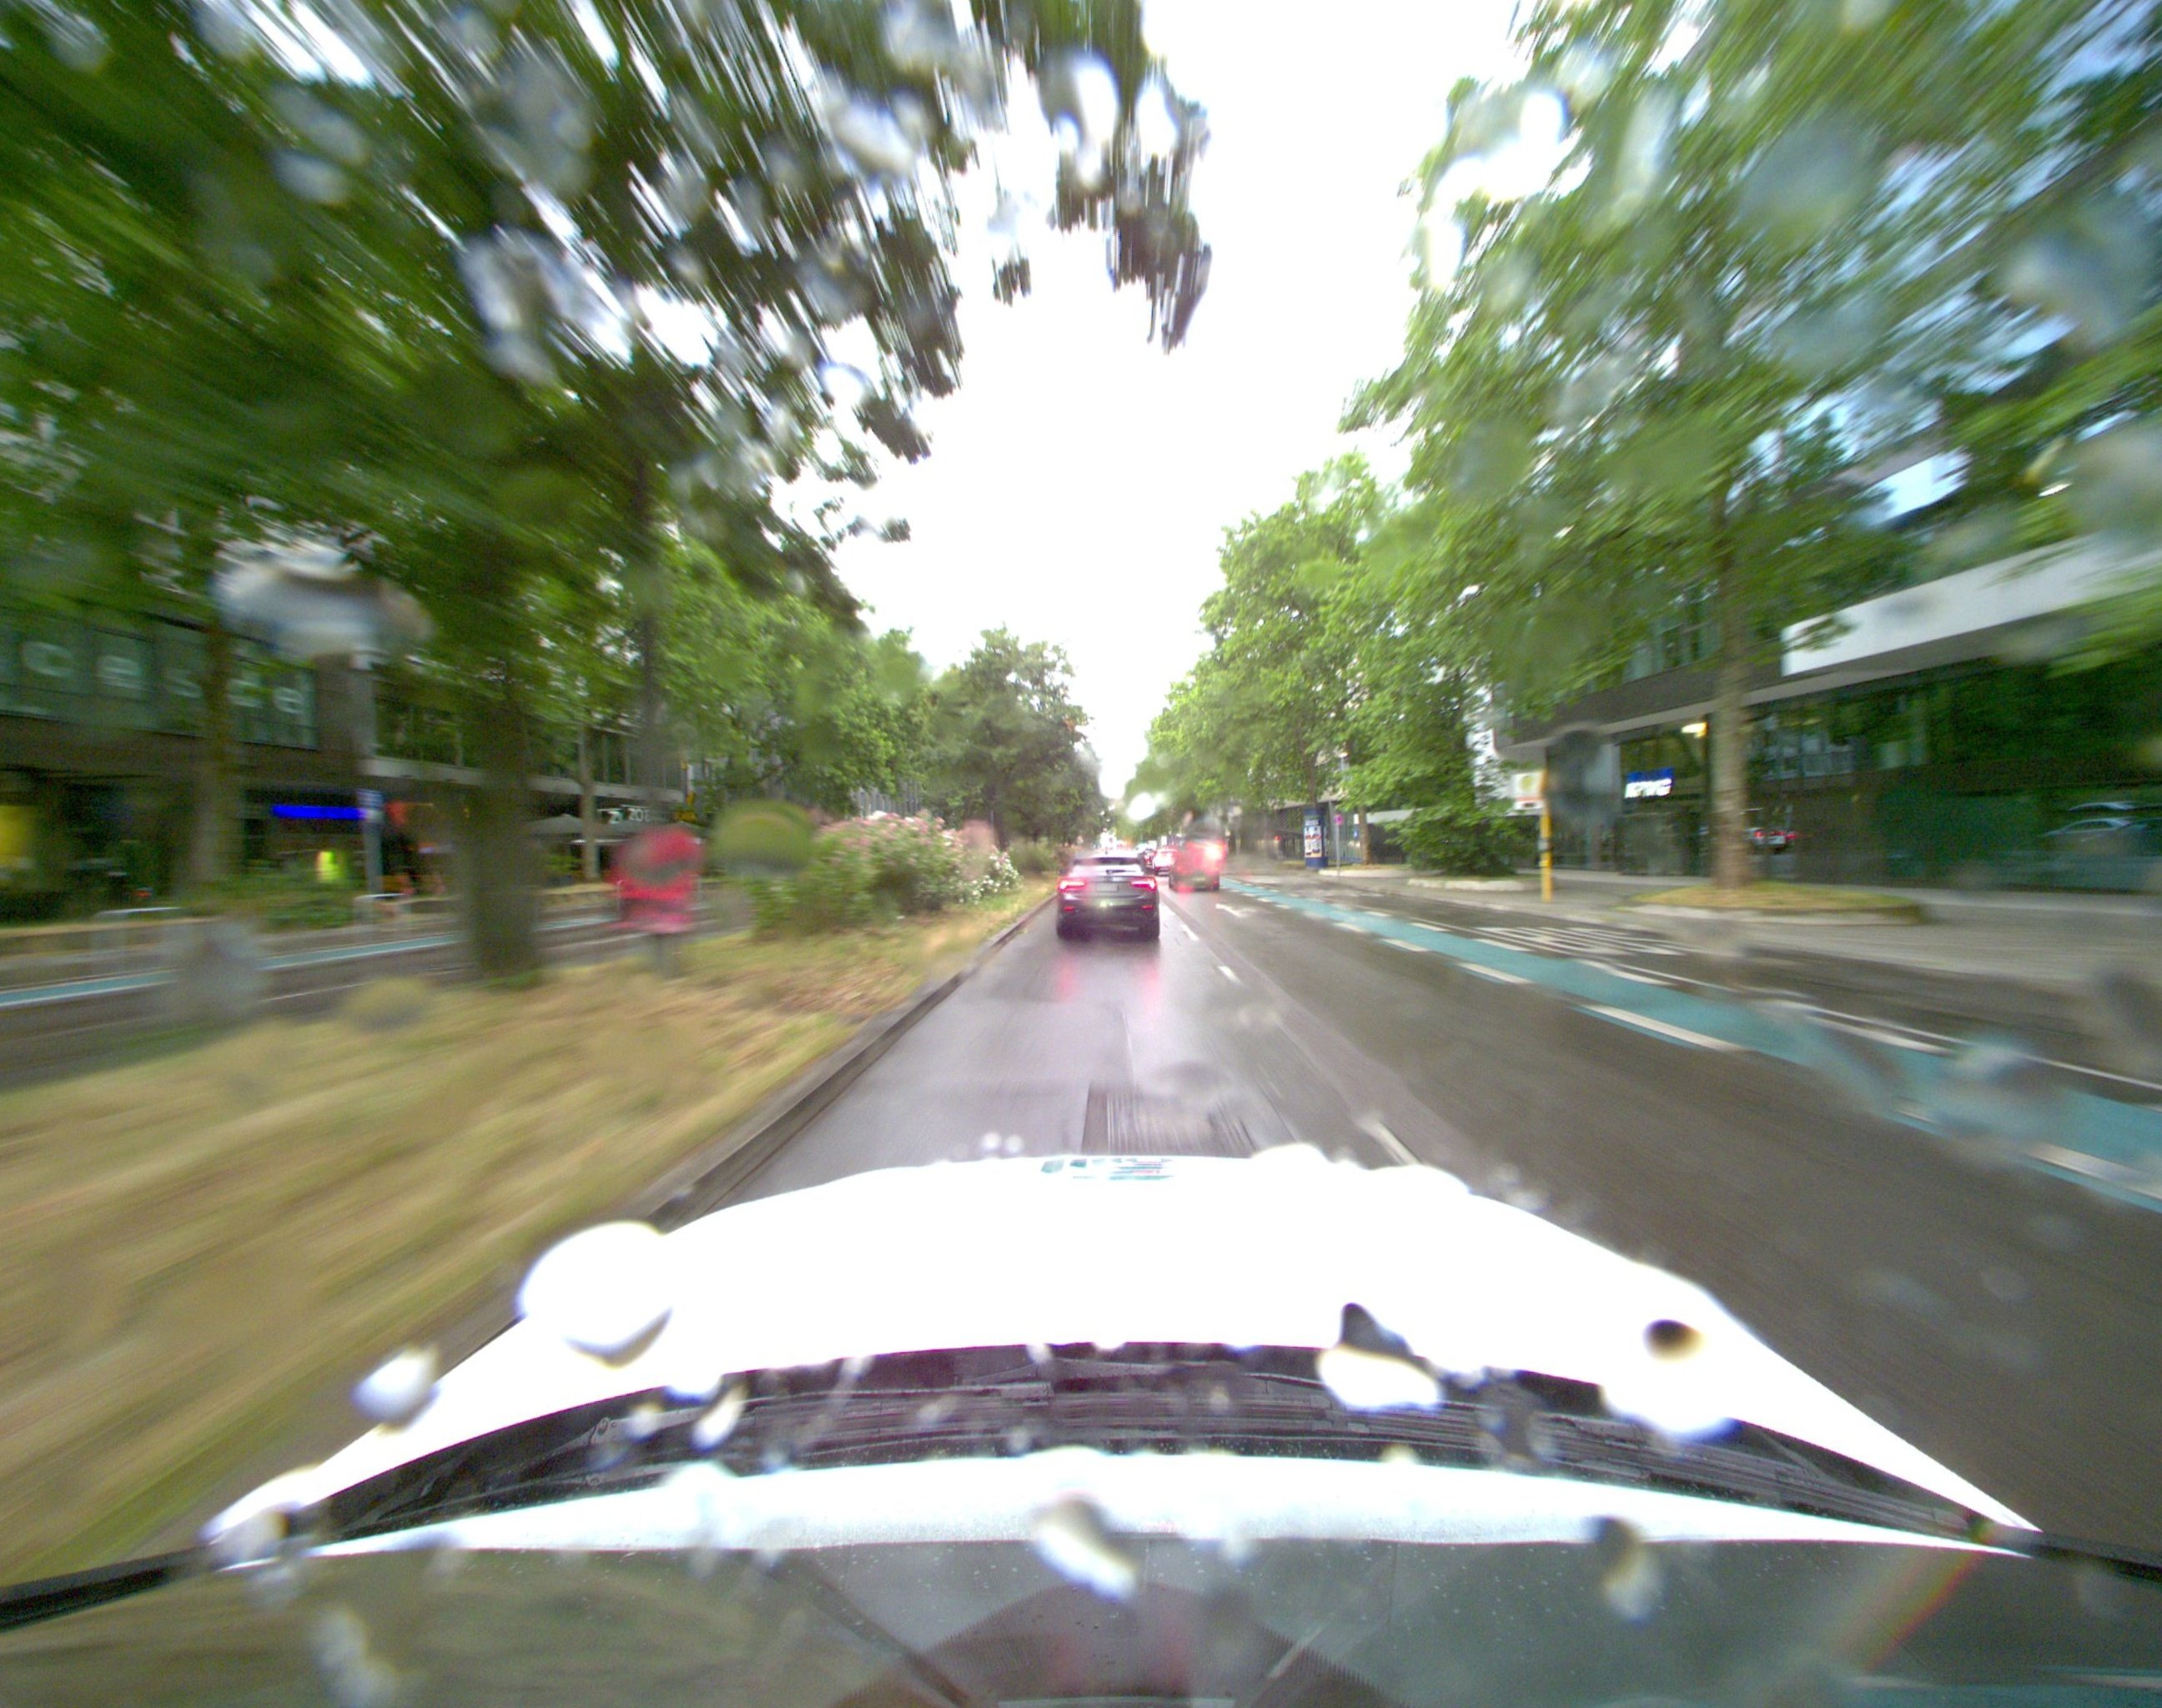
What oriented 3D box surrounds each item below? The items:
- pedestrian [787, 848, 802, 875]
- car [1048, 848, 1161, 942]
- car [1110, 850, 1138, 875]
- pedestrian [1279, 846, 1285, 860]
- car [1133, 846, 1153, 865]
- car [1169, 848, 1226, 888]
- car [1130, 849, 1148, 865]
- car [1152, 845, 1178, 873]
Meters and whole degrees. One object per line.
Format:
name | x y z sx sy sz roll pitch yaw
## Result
pedestrian | -21.642 0.568 61.472 0.877 2.013 0.636 -1 0 1
car | 0.535 0.673 15.858 1.855 1.532 4.531 -1 0 3
car | 2.849 0.523 54.590 1.715 1.577 3.964 -1 0 2
pedestrian | 24.771 -0.122 100.407 0.648 1.815 0.656 -1 0 1
car | 6.065 0.103 80.412 1.815 1.750 4.003 -2 0 2
car | 4.581 0.517 32.481 1.758 1.412 4.002 -2 0 2
car | 6.756 0.366 94.784 1.986 1.750 4.003 -2 0 2
car | 5.341 0.288 51.814 1.427 1.685 2.981 -2 0 2
